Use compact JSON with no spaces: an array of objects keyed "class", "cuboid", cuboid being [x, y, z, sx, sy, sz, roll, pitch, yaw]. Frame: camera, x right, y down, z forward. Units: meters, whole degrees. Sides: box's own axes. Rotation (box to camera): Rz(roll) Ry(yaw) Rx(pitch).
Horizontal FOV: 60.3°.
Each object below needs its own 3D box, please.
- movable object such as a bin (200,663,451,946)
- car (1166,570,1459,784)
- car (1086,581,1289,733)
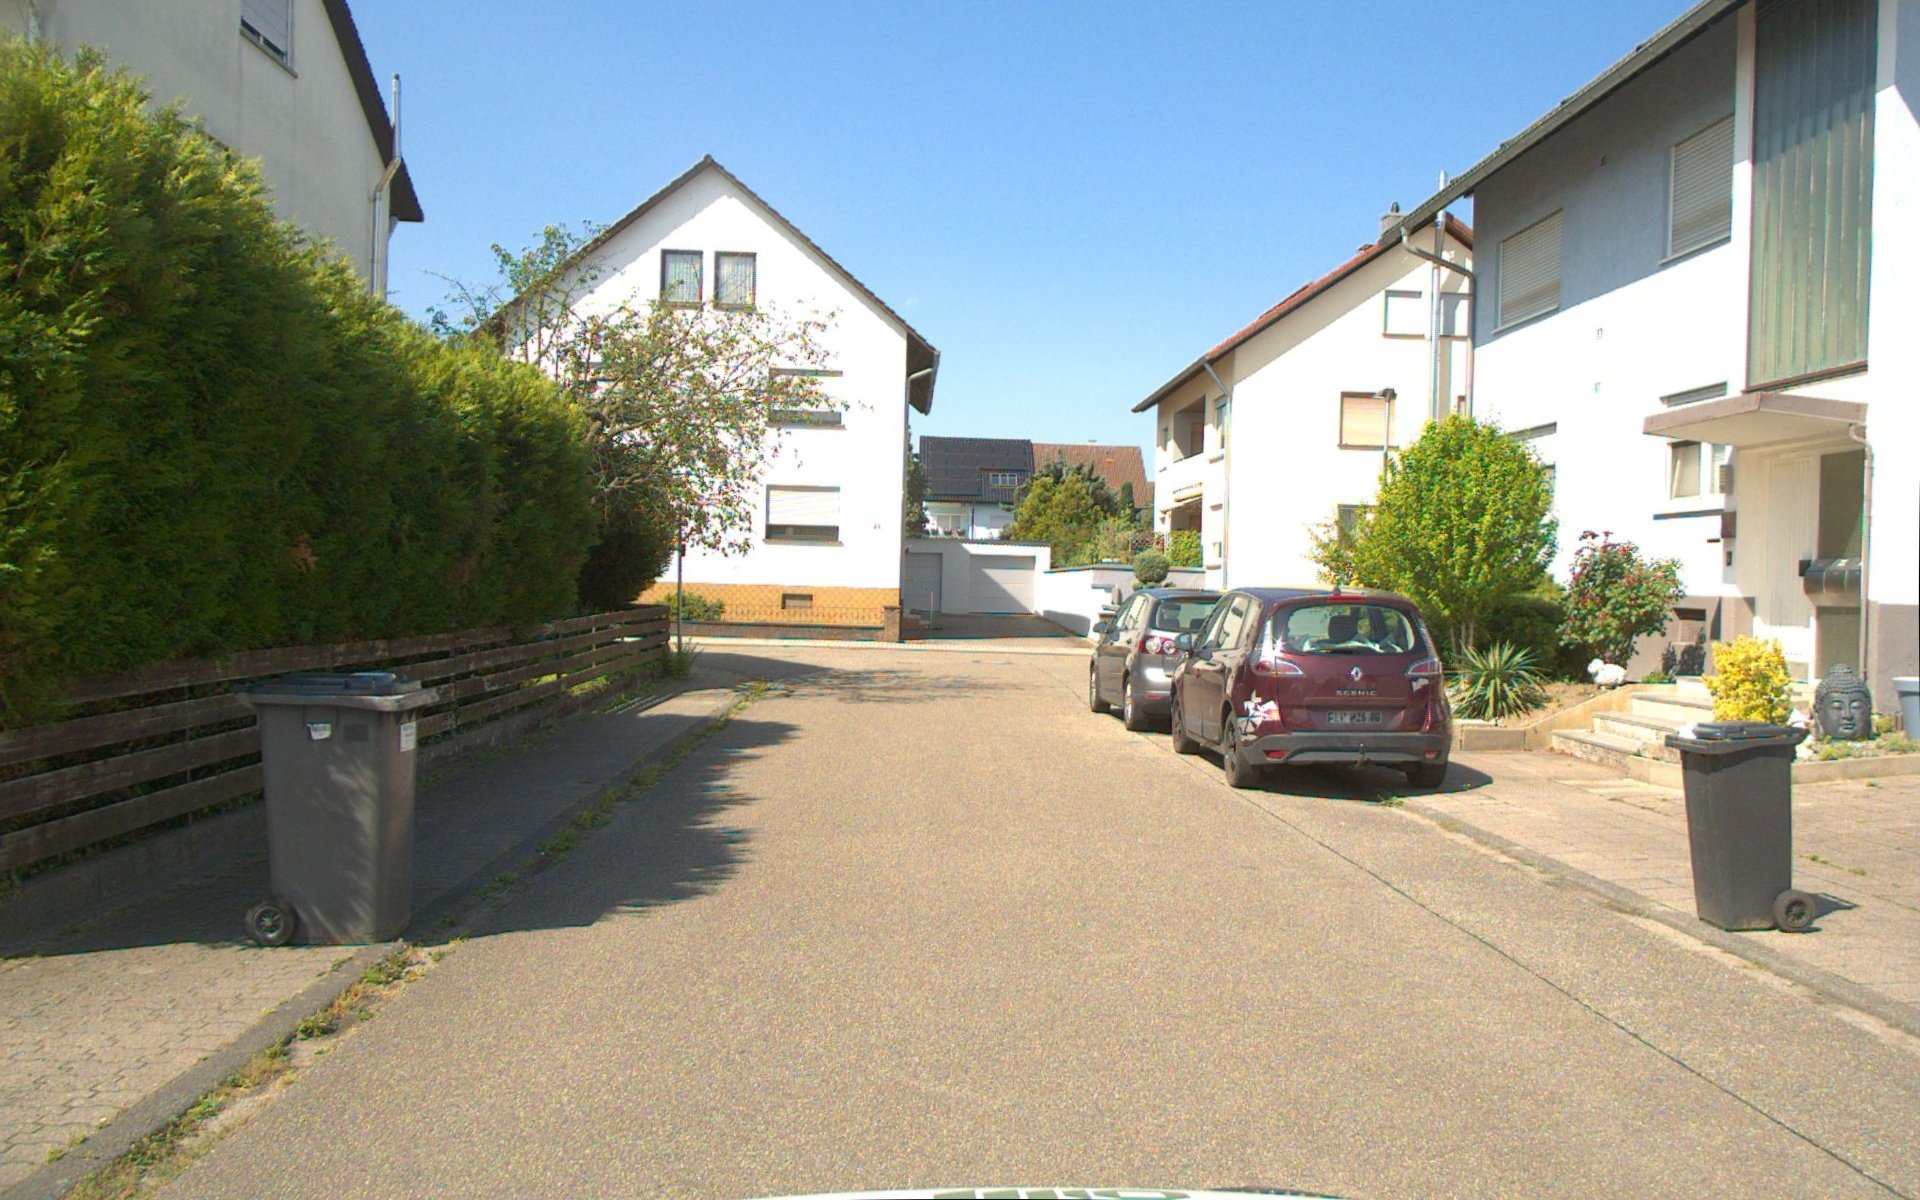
[{"class":"movable object such as a bin","cuboid":[-2.602,0.823,6.844,0.802,1.082,0.611,1,0,-2]},{"class":"car","cuboid":[2.956,0.559,14.731,1.612,1.609,4.146,1,1,-1]},{"class":"car","cuboid":[2.580,0.588,19.654,1.612,1.573,4.045,1,1,-3]}]
